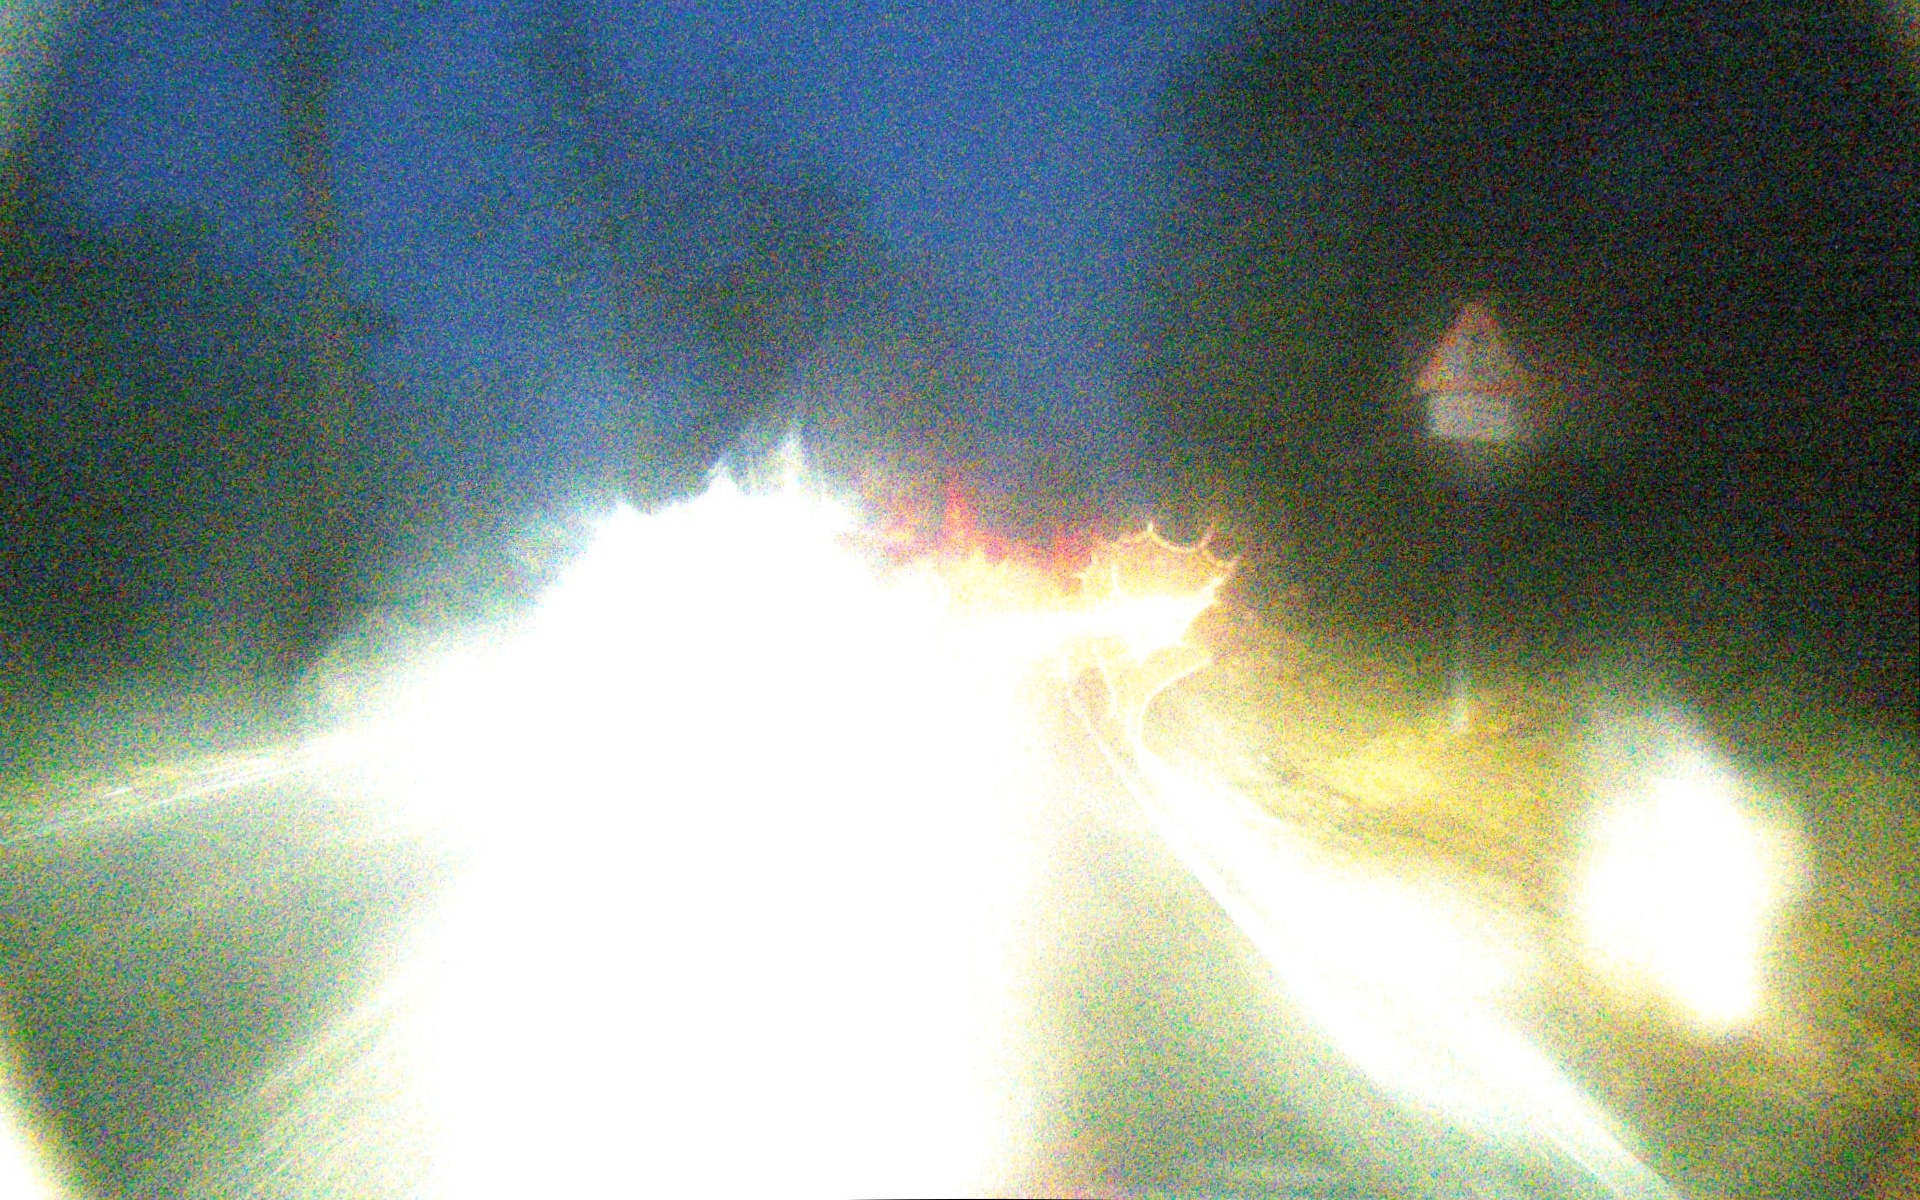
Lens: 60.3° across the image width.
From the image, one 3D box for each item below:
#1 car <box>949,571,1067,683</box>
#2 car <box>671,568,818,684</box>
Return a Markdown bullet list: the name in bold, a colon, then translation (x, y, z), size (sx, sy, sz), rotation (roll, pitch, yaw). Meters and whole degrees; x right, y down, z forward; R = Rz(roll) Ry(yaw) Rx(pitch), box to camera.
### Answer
- **car**: translation (0.810, 0.447, 30.436), size (1.953, 1.838, 3.917), rotation (-3, 1, -1)
- **car**: translation (-3.433, 0.373, 27.054), size (1.804, 1.750, 3.960), rotation (0, 1, 1)
